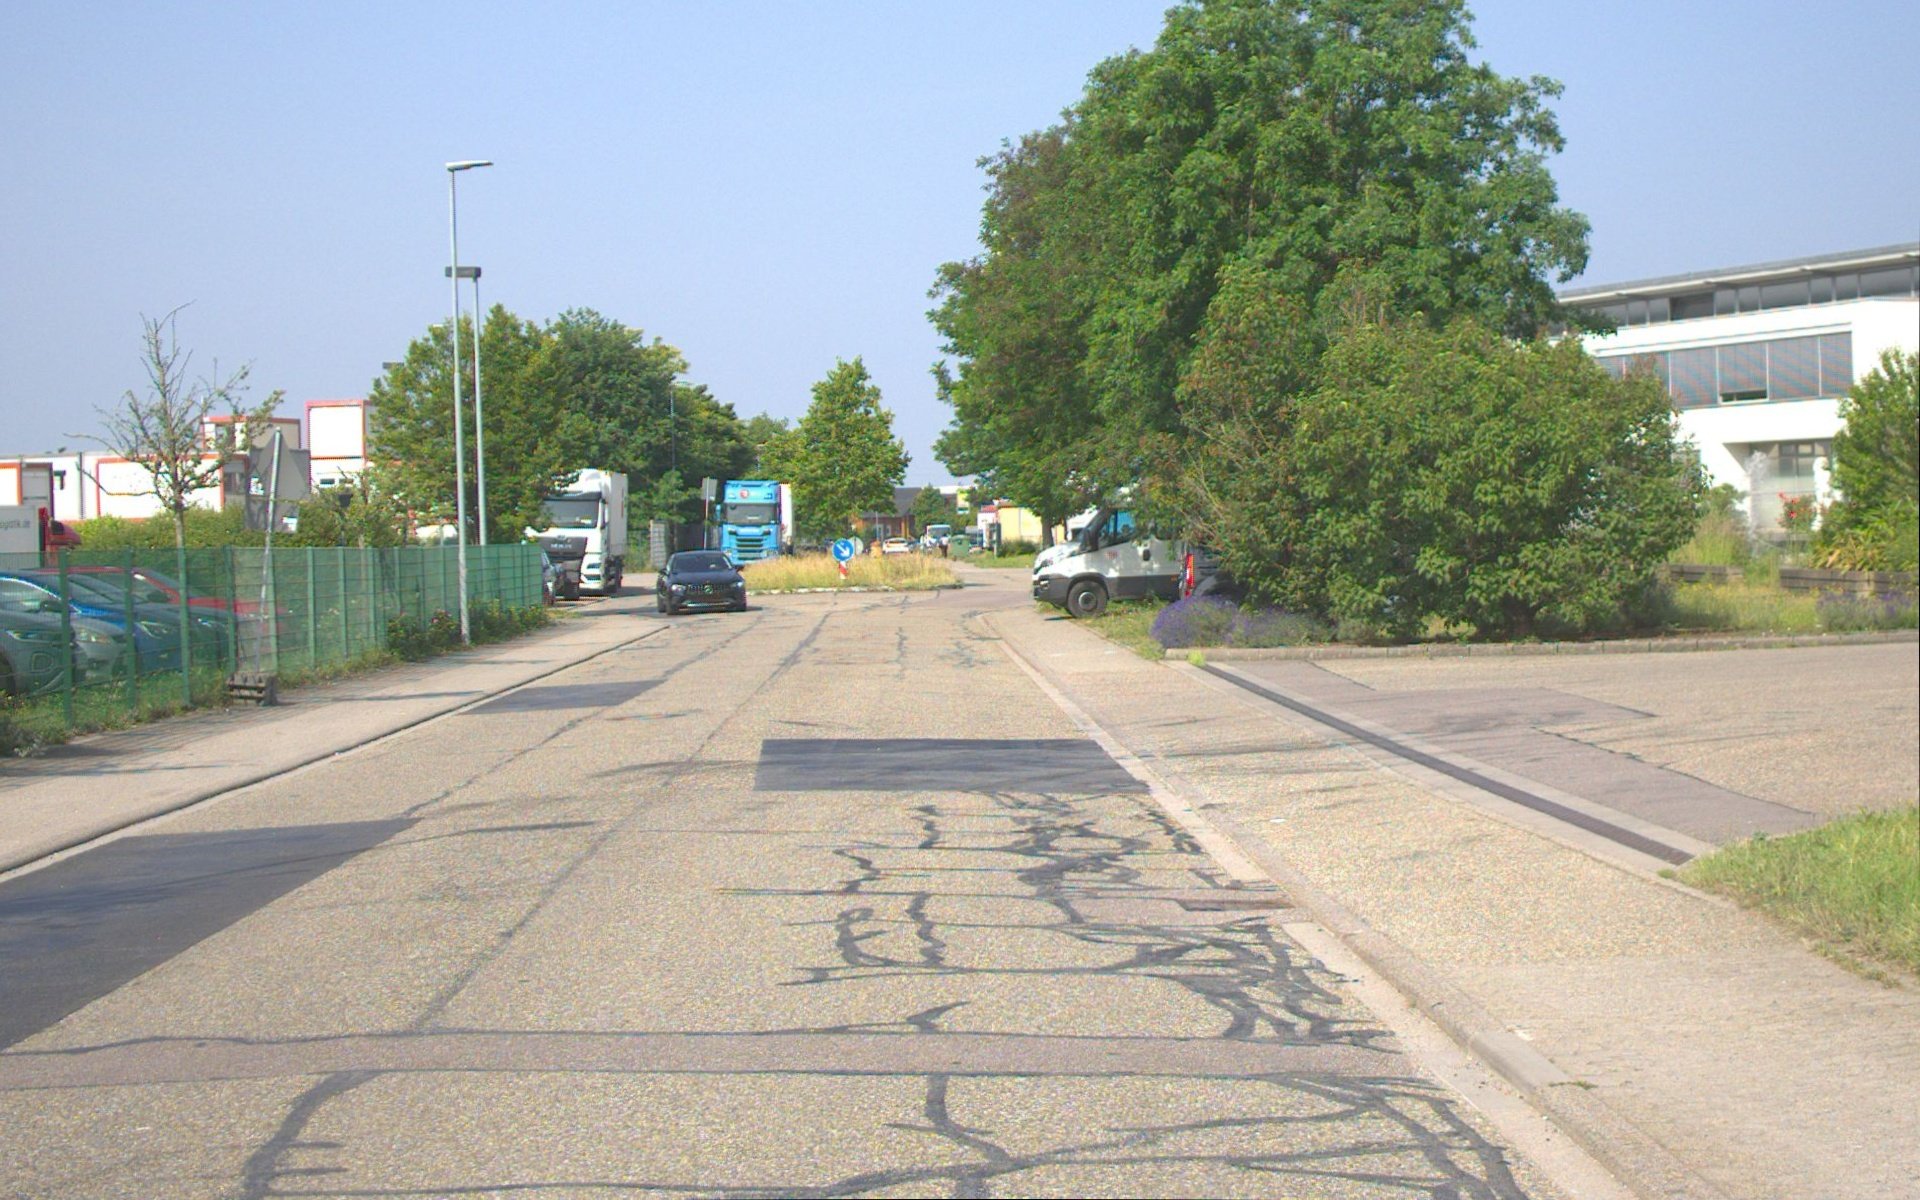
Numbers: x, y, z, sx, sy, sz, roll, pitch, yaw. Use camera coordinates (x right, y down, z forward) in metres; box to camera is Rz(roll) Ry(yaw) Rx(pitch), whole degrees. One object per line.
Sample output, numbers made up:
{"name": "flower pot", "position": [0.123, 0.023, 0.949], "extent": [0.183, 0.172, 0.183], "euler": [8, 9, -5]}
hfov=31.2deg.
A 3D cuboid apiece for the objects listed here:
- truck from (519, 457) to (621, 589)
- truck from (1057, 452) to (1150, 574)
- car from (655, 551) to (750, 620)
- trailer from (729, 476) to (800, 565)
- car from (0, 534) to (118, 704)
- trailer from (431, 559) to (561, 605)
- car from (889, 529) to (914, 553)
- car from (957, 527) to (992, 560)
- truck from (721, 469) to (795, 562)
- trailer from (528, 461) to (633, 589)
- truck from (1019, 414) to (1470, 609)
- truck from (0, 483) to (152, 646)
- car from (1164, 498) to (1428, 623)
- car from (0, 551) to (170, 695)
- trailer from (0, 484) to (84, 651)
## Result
{"name": "truck", "position": [-11.906, -2.314, 105.146], "extent": [2.708, 3.908, 4.297], "euler": [1, 0, -2]}
{"name": "truck", "position": [4.919, -2.993, 118.798], "extent": [2.746, 3.968, 4.000], "euler": [-4, 1, -1]}
{"name": "car", "position": [-5.956, -0.360, 79.934], "extent": [1.993, 1.444, 4.420], "euler": [-4, 1, -2]}
{"name": "trailer", "position": [-8.992, -3.590, 159.200], "extent": [2.831, 3.830, 12.037], "euler": [1, 0, -1]}
{"name": "car", "position": [-10.457, 0.254, 33.242], "extent": [4.127, 1.562, 1.865], "euler": [-3, 1, -1]}
{"name": "trailer", "position": [-11.483, -0.473, 85.535], "extent": [2.546, 0.922, 6.710], "euler": [2, 1, -2]}
{"name": "car", "position": [-4.248, -4.300, 249.626], "extent": [1.718, 1.655, 3.824], "euler": [1, 0, -3]}
{"name": "car", "position": [0.801, -3.138, 190.327], "extent": [1.792, 1.744, 4.000], "euler": [1, 0, -2]}
{"name": "truck", "position": [-8.752, -3.617, 149.556], "extent": [2.825, 3.812, 9.673], "euler": [1, 0, -1]}
{"name": "trailer", "position": [-12.037, -2.316, 109.565], "extent": [2.699, 3.908, 7.576], "euler": [1, 0, -2]}
{"name": "truck", "position": [5.341, -1.653, 65.537], "extent": [8.208, 3.359, 2.741], "euler": [-2, 0, -2]}
{"name": "truck", "position": [-23.234, -0.892, 88.359], "extent": [2.514, 4.057, 5.540], "euler": [1, 0, 14]}
{"name": "car", "position": [5.331, -0.635, 54.907], "extent": [3.987, 1.831, 2.000], "euler": [-2, 1, 1]}
{"name": "car", "position": [-10.769, 0.294, 37.050], "extent": [4.040, 1.439, 1.874], "euler": [-3, 1, -1]}
{"name": "trailer", "position": [-25.193, -0.798, 80.698], "extent": [2.483, 4.028, 13.879], "euler": [1, 0, 15]}
